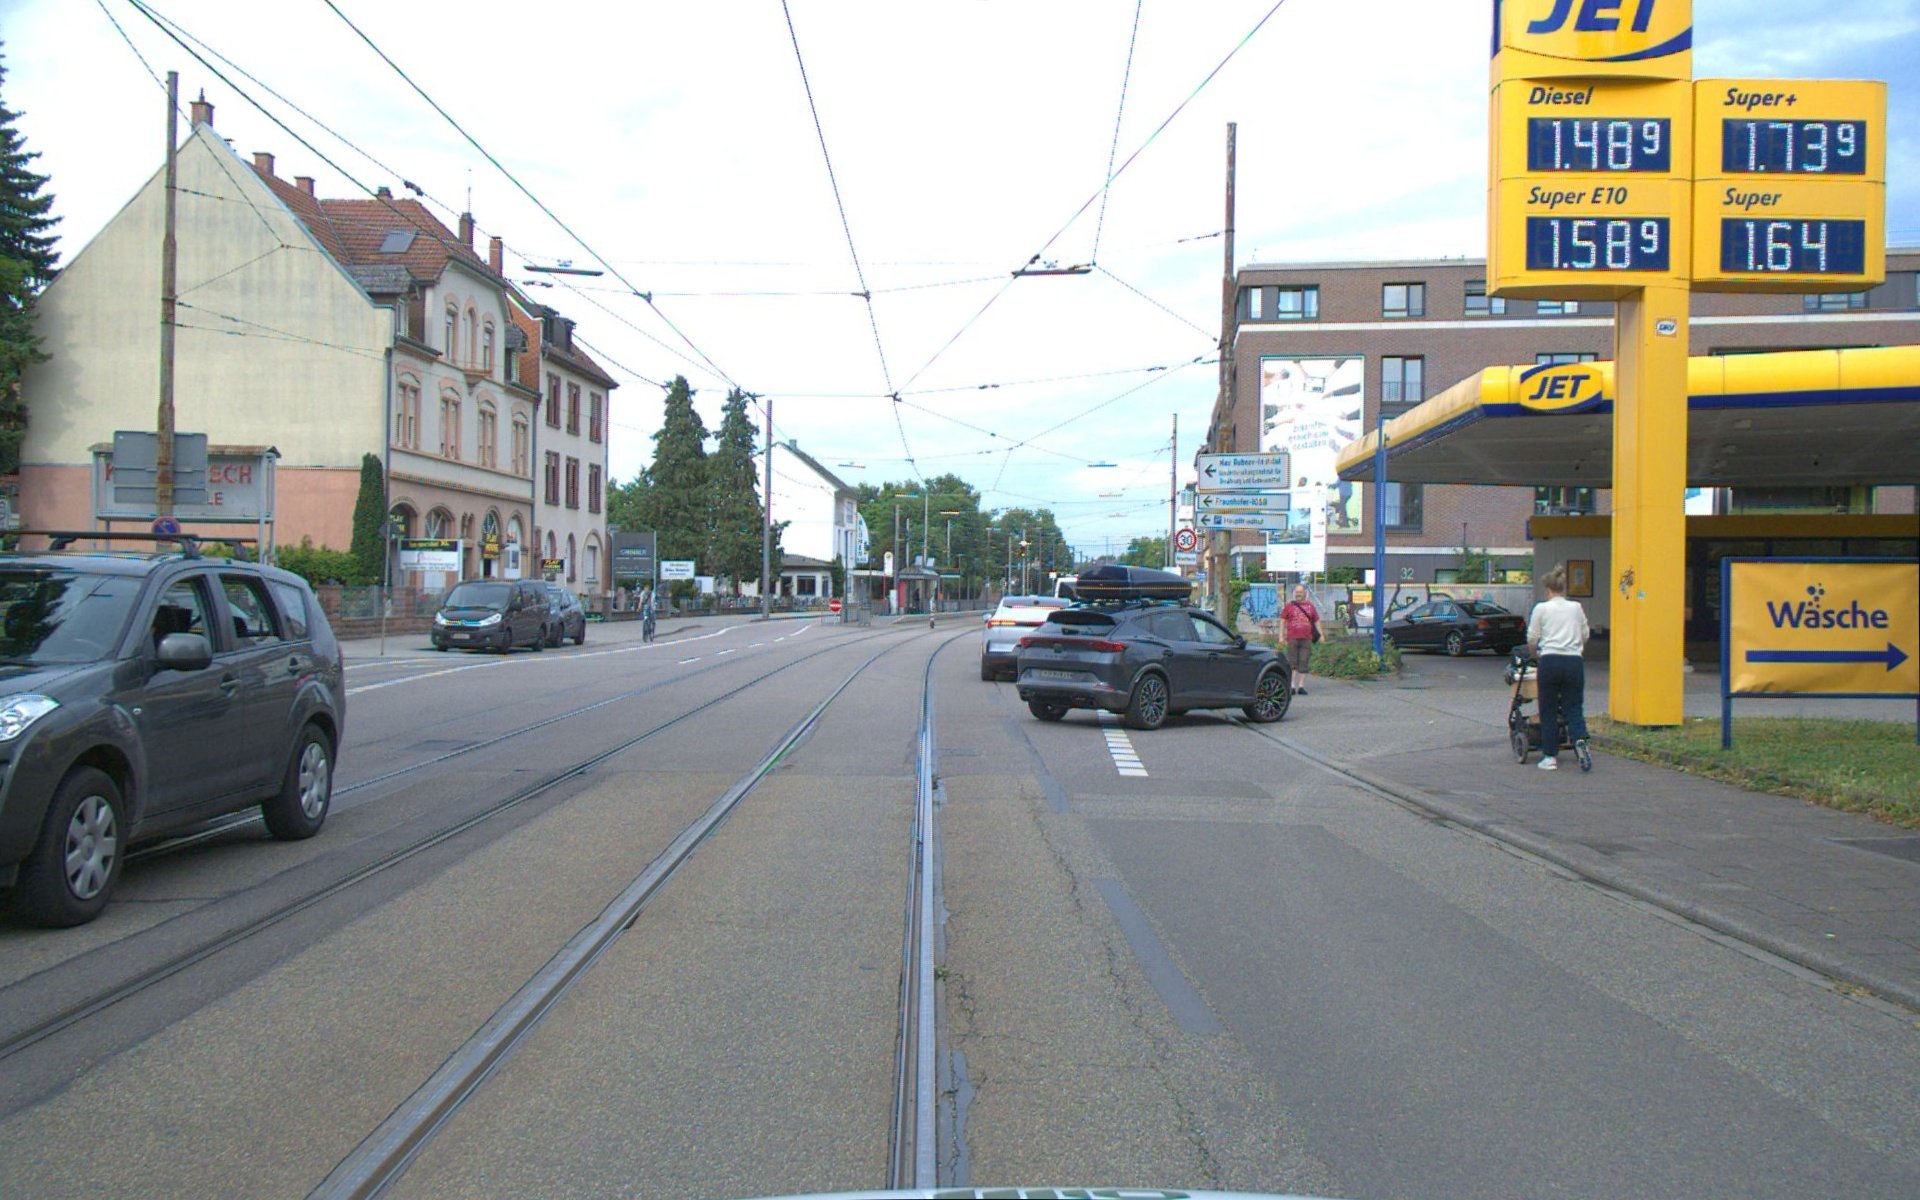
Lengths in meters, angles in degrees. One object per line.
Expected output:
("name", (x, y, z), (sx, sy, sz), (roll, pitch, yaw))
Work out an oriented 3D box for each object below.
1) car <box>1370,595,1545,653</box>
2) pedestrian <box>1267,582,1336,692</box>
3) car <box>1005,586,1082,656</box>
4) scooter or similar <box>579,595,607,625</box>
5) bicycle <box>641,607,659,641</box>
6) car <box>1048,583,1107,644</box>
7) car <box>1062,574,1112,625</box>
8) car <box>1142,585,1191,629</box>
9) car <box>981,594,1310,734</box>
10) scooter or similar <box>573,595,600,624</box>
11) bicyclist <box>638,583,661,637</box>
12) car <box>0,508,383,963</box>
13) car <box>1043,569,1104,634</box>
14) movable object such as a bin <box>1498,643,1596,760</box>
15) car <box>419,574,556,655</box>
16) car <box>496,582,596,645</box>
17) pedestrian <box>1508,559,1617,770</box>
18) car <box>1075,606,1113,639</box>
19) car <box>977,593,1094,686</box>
("car", (13.335, 0.600, 44.645), (1.919, 1.452, 4.853), (0, 0, -22))
("pedestrian", (5.654, 0.608, 27.455), (0.951, 1.769, 0.861), (-1, -1, 2))
("car", (2.255, 0.573, 45.472), (1.928, 1.787, 3.838), (2, 0, 1))
("scooter or similar", (-15.427, 0.429, 69.511), (1.039, 1.209, 0.315), (2, -1, -33))
("bicycle", (-10.188, 0.769, 54.319), (0.576, 1.092, 1.952), (-1, 0, -11))
("car", (4.172, 0.491, 59.087), (1.952, 2.049, 4.001), (2, 0, 3))
("car", (5.817, 0.001, 76.330), (2.095, 2.183, 4.745), (2, 0, 2))
("car", (9.321, 0.318, 74.923), (1.835, 1.855, 4.097), (2, 0, 2))
("car", (2.461, 0.729, 21.199), (1.963, 1.523, 4.296), (3, 2, 44))
("scooter or similar", (-15.794, 0.411, 69.978), (1.039, 1.209, 0.315), (2, -1, -33))
("bicyclist", (-10.198, 0.325, 54.356), (0.722, 1.780, 0.976), (-1, 0, -11))
("car", (-4.637, 0.532, 8.559), (1.790, 1.768, 4.334), (0, 0, 0))
("car", (4.577, 0.088, 67.142), (2.171, 2.465, 4.952), (2, 0, 1))
("movable object such as a bin", (5.638, 0.965, 15.934), (0.751, 1.057, 1.025), (-1, 0, 13))
("car", (-12.269, 0.385, 43.298), (1.950, 1.920, 4.999), (2, 0, 2))
("car", (-12.293, 0.393, 49.338), (1.806, 1.748, 4.193), (2, 0, 1))
("pedestrian", (5.427, 0.565, 14.962), (0.751, 1.828, 1.163), (-1, 0, 13))
("car", (8.633, 1.432, 106.843), (1.953, 2.049, 3.999), (2, 0, -1))
("car", (1.358, 0.701, 31.388), (1.941, 1.577, 4.182), (2, 0, -1))
